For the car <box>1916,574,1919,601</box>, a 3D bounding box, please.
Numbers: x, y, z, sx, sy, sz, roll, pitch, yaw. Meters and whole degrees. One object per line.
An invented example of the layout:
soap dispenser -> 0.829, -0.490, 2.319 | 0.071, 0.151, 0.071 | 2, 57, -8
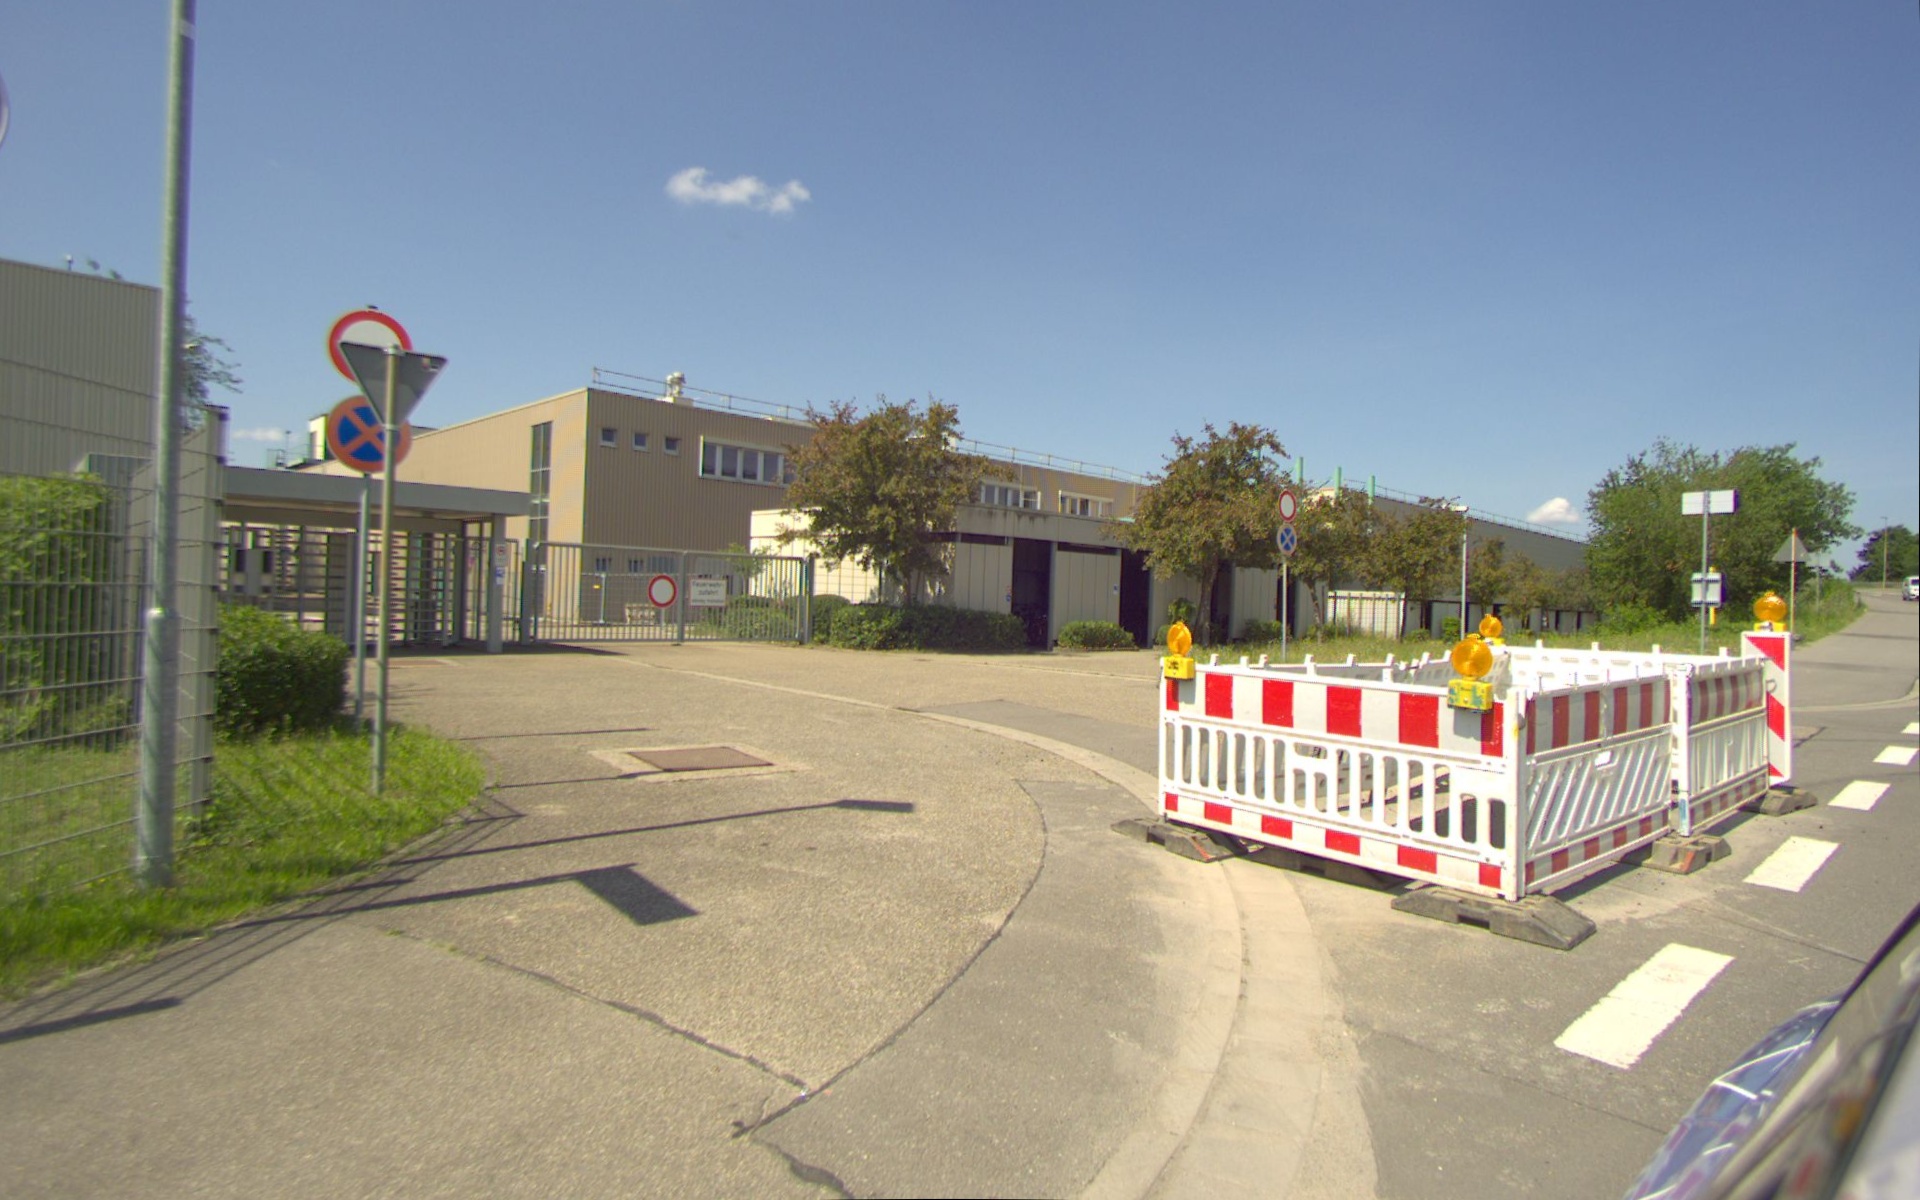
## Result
car -> 72.489, -0.901, 75.051 | 1.992, 1.938, 3.941 | 2, 1, 40
